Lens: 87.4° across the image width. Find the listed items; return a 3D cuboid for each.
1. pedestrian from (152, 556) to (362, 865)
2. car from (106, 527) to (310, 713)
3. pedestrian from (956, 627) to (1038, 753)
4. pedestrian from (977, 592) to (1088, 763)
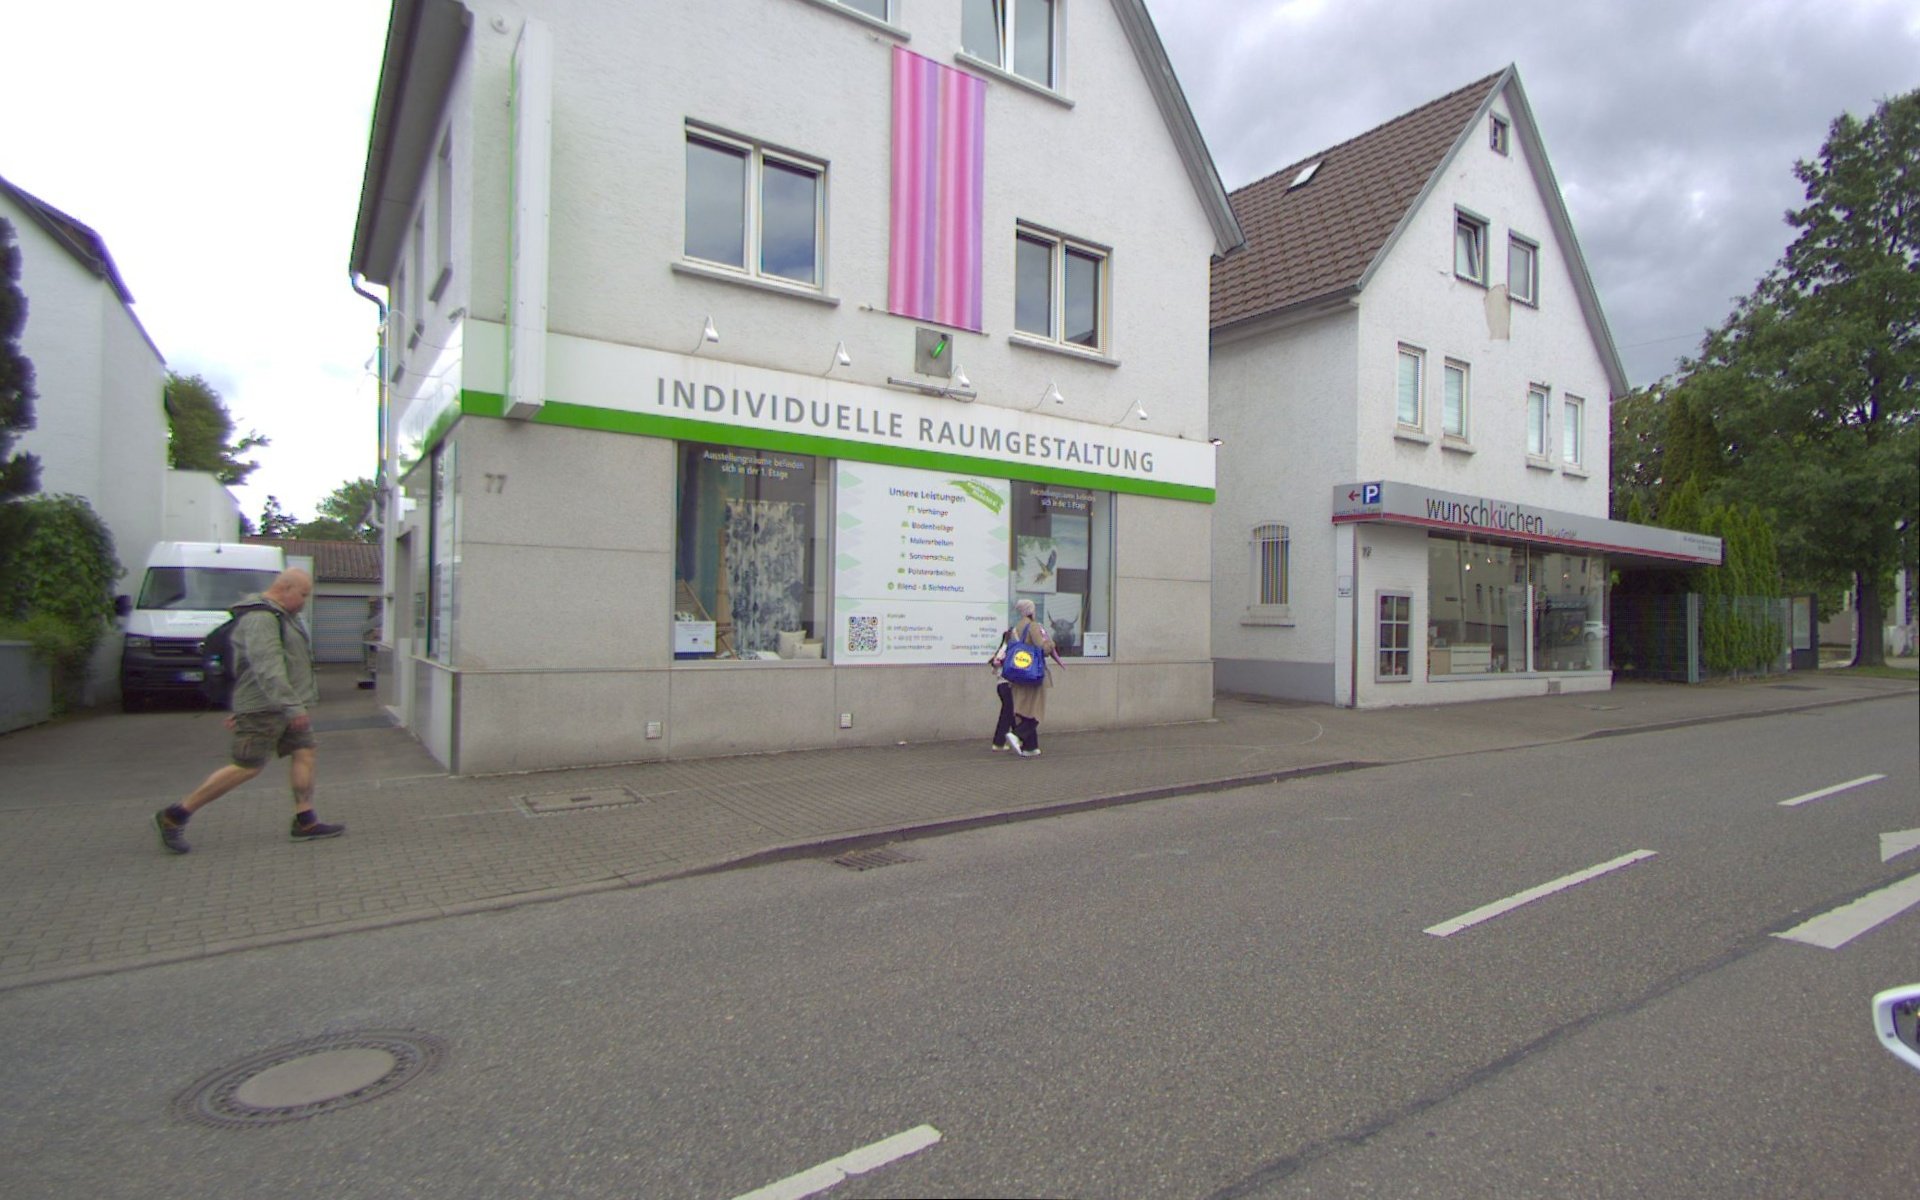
[{"bbox_3d":[-4.382,0.631,6.329,1.009,1.767,0.747,1,1,-33],"label":"pedestrian"},{"bbox_3d":[-11.915,0.361,16.302,1.977,2.496,5.275,1,-2,-30],"label":"car"},{"bbox_3d":[0.399,0.963,10.989,0.648,1.297,0.596,1,1,-33],"label":"pedestrian"},{"bbox_3d":[0.742,0.766,10.330,0.784,1.638,0.747,1,2,-33],"label":"pedestrian"}]
